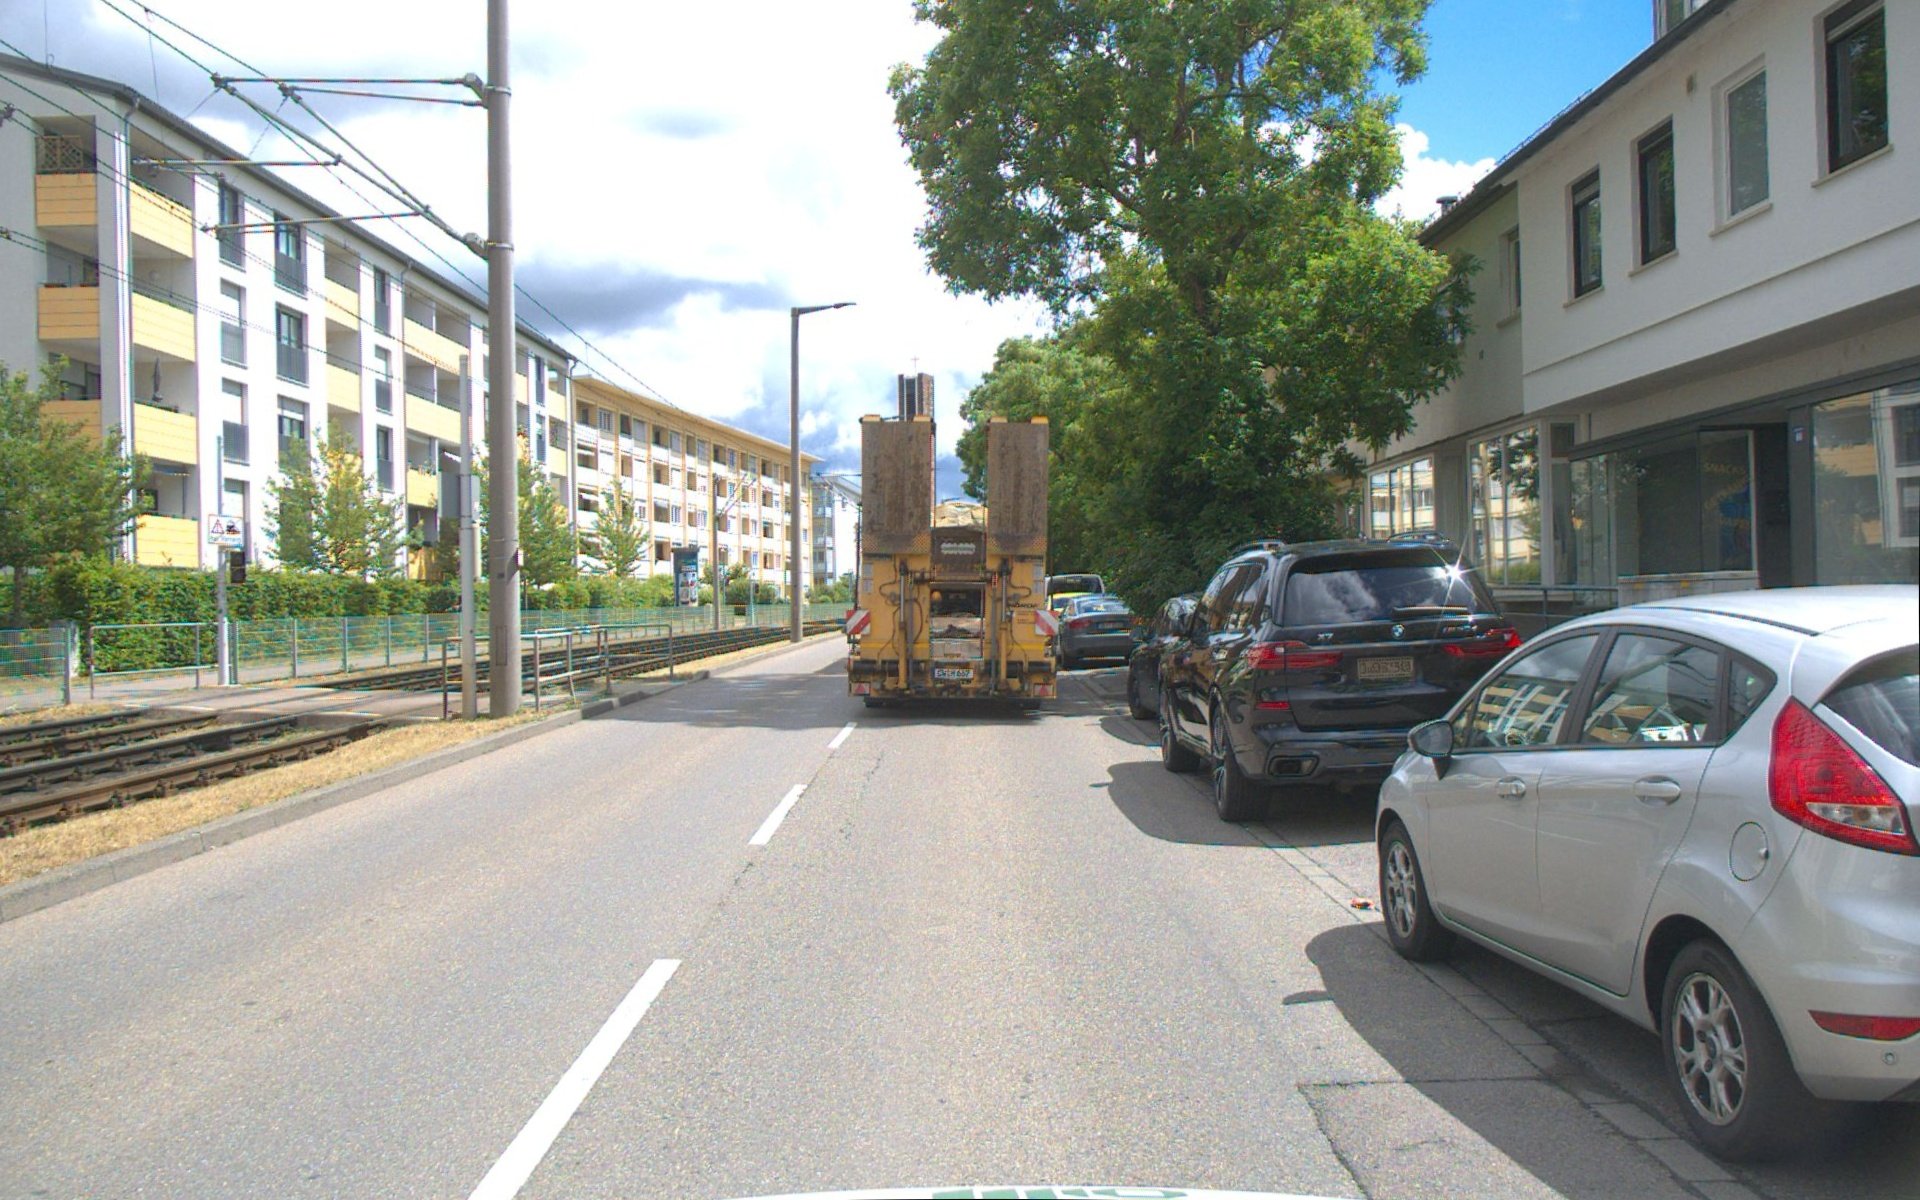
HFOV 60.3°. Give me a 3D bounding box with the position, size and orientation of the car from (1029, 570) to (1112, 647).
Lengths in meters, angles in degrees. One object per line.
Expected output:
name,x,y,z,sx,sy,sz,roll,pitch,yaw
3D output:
car,3.031,0.220,46.479,1.875,1.993,5.744,-2,0,0

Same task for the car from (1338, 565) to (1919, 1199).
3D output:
car,2.719,0.657,5.659,1.736,1.467,3.897,-3,0,-3

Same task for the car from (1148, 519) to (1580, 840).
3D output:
car,2.654,0.461,12.220,1.974,1.820,5.076,-2,0,1

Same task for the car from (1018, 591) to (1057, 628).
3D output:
car,3.807,0.446,80.766,1.785,1.711,4.578,-1,0,4

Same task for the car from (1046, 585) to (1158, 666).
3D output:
car,2.780,0.474,33.270,1.720,1.467,4.492,-2,0,-1

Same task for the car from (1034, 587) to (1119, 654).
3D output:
car,2.767,0.470,40.058,1.719,1.467,4.341,-2,0,0

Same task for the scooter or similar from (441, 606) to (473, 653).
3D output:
scooter or similar,-14.500,0.834,47.717,0.480,1.315,1.302,-1,0,1

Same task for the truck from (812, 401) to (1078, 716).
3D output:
truck,-0.172,-0.511,25.469,3.060,3.627,12.459,-1,0,0

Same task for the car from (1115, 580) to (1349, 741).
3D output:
car,2.899,0.597,18.519,1.797,1.532,4.241,-2,0,-1
